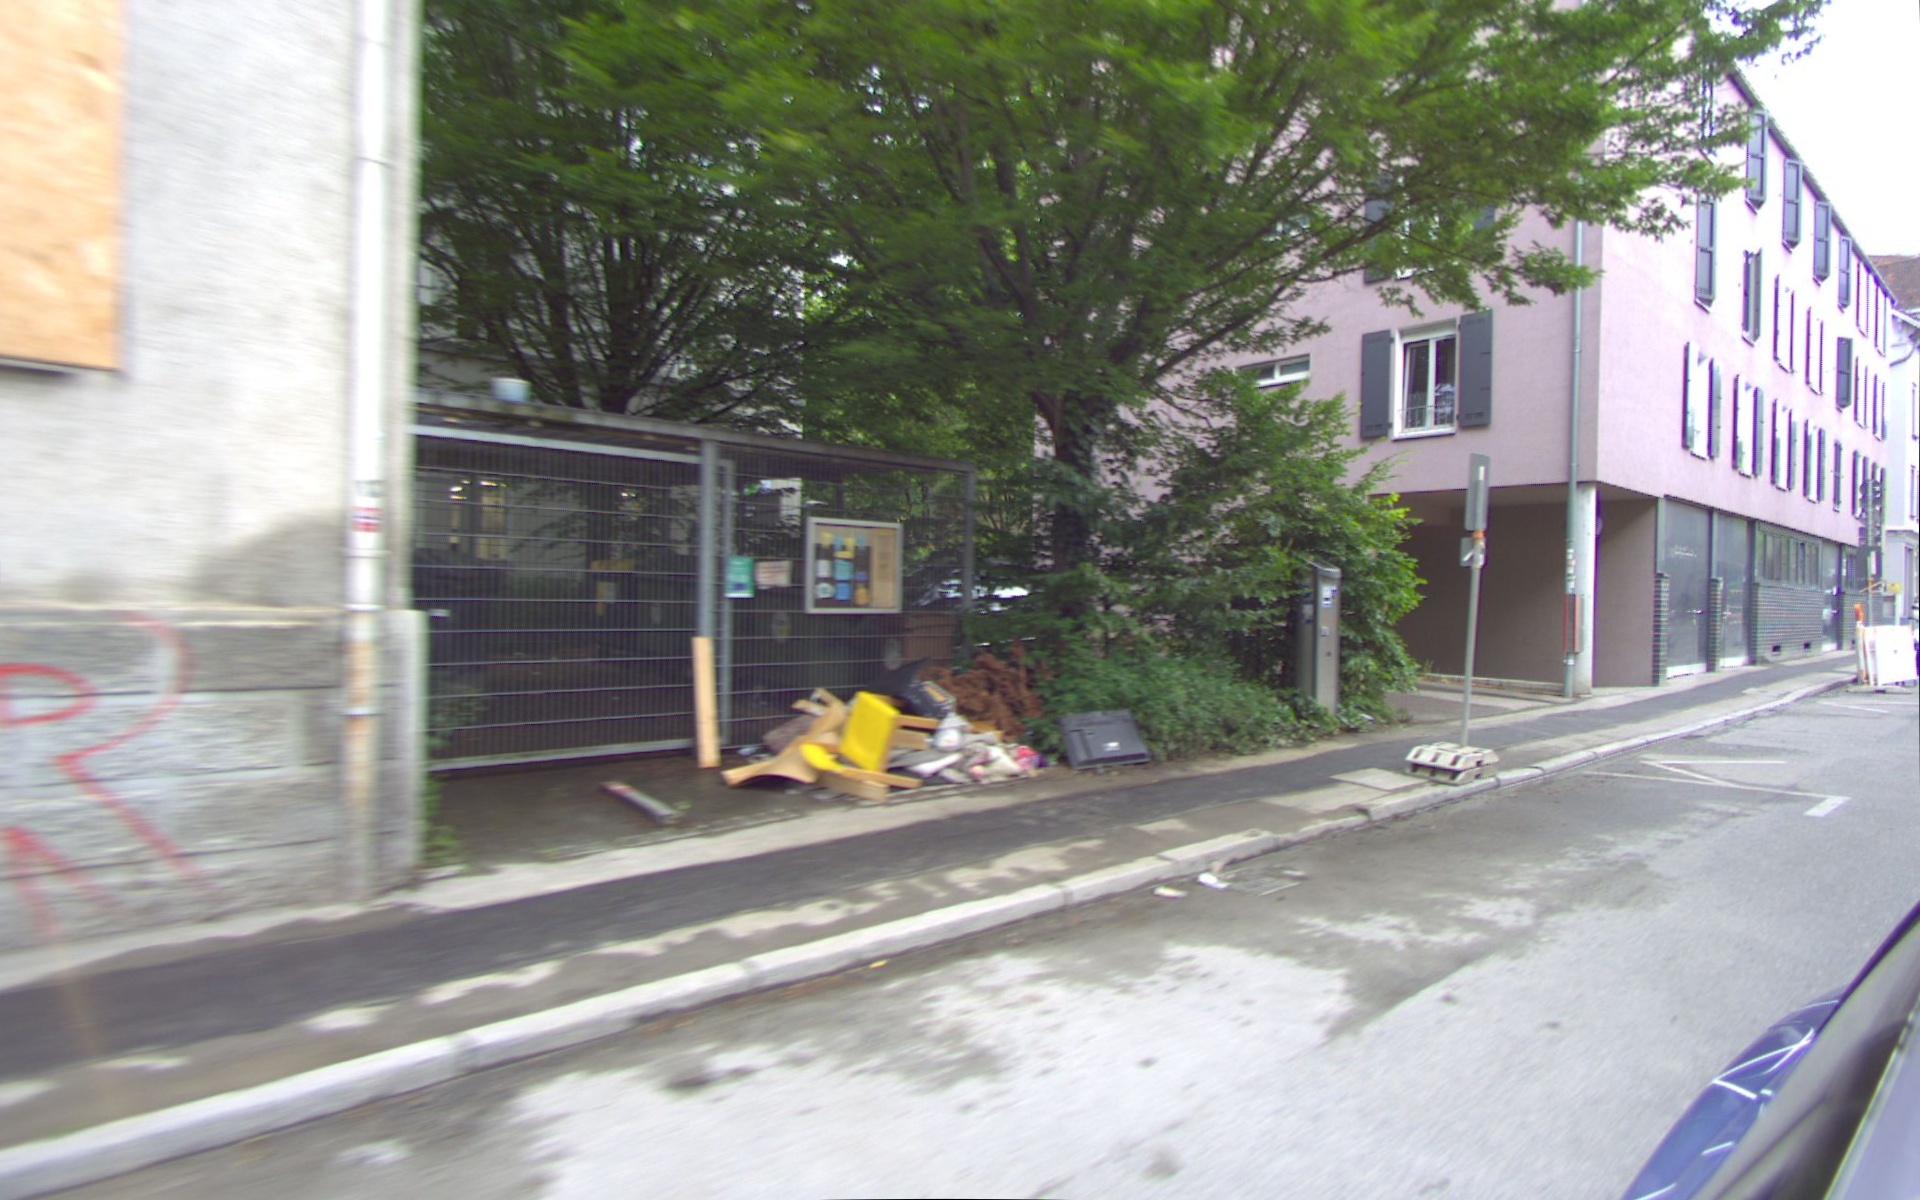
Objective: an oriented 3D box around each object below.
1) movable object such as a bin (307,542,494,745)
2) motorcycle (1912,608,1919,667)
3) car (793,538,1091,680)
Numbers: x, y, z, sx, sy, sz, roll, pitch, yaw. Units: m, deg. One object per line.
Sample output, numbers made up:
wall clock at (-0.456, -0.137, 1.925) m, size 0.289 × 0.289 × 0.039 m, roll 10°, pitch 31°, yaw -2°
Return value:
movable object such as a bin at (-4.226, 0.293, 7.750) m, size 1.003 × 1.422 × 1.097 m, roll 0°, pitch 0°, yaw -14°
motorcycle at (21.359, 0.792, 22.052) m, size 2.296 × 1.242 × 0.648 m, roll 0°, pitch 0°, yaw -41°
car at (-0.133, 0.094, 13.667) m, size 3.934 × 1.604 × 1.637 m, roll 1°, pitch 3°, yaw -45°
